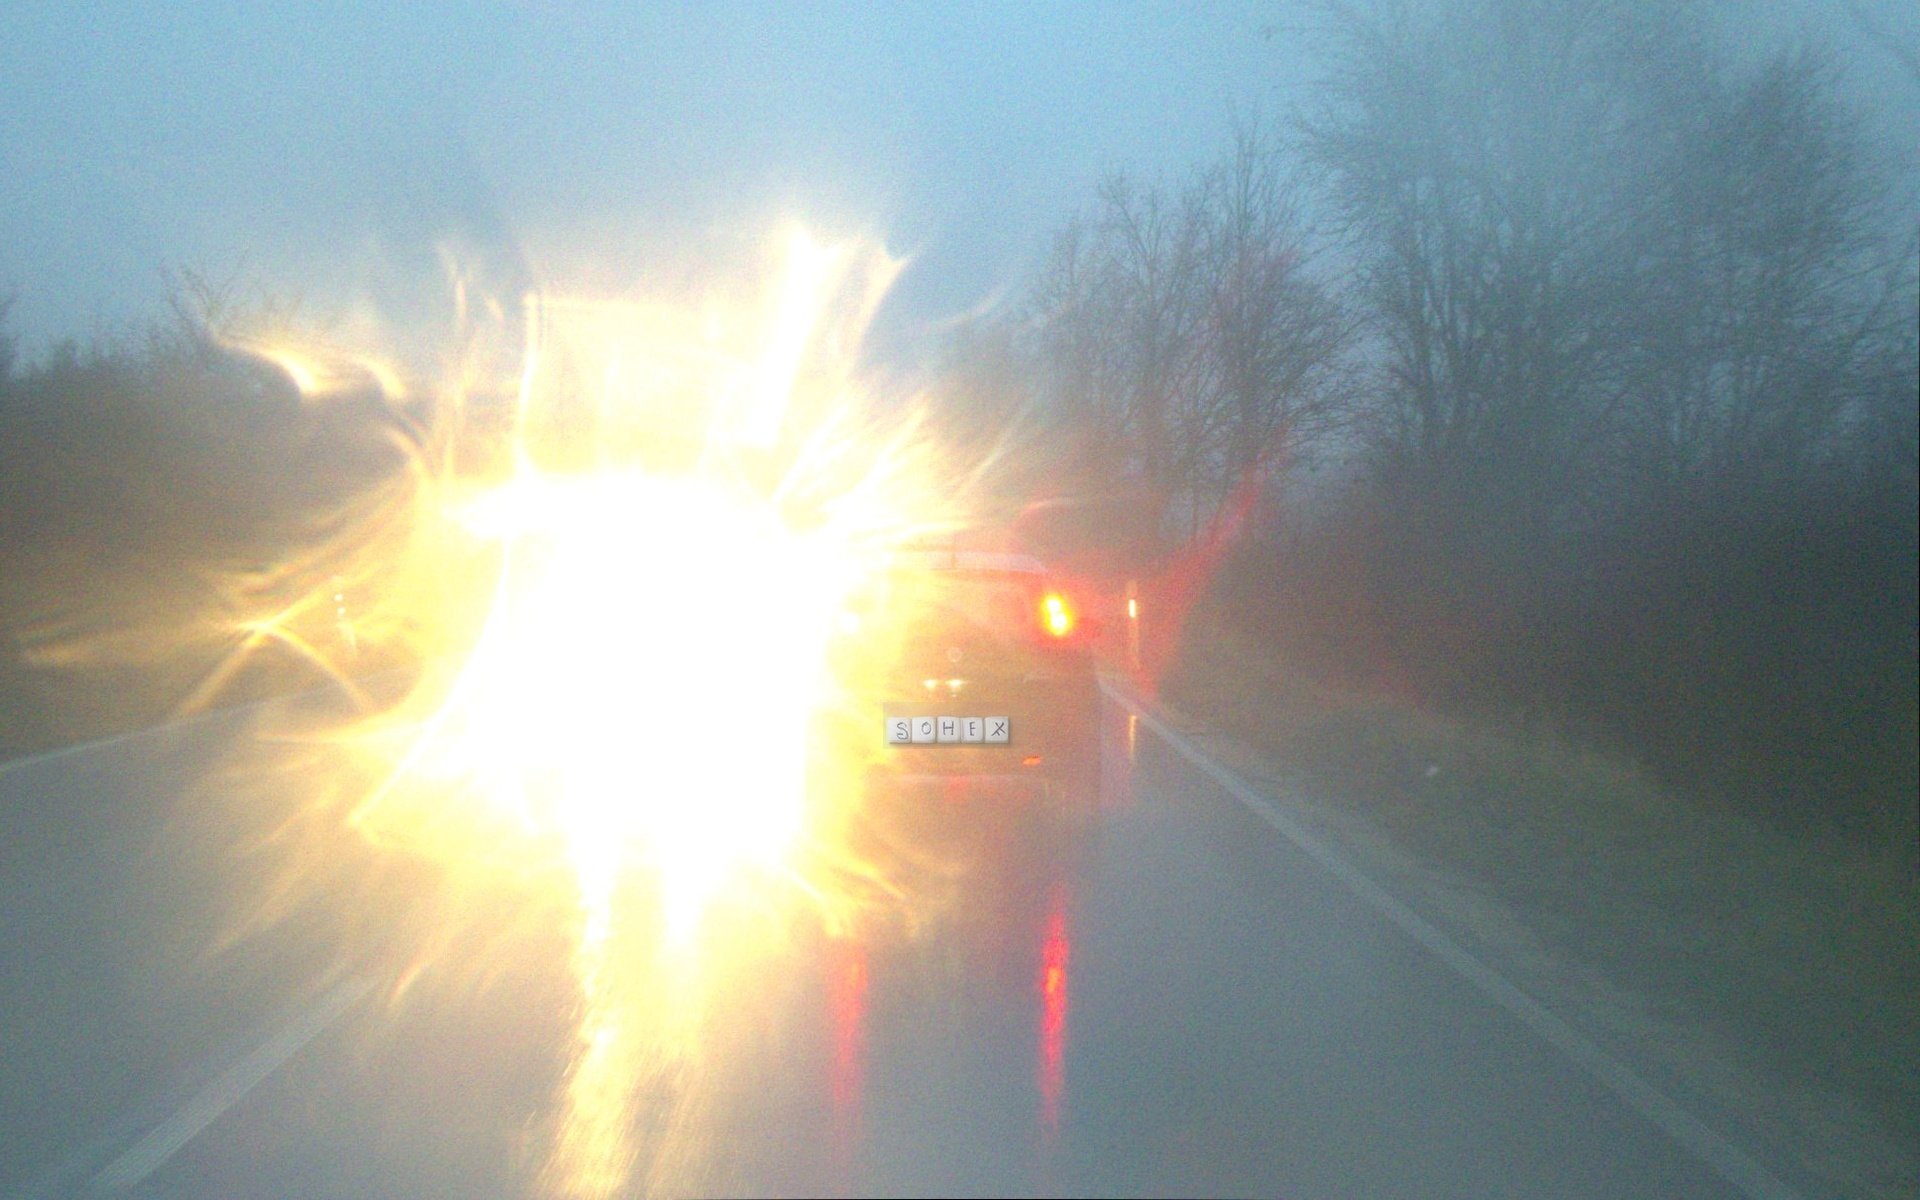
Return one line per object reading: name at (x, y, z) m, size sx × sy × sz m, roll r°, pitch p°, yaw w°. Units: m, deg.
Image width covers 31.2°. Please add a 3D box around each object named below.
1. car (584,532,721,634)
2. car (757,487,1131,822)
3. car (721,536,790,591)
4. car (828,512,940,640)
car at (-4.591, -0.288, 51.813) m, size 1.751 × 1.469 × 3.891 m, roll 0°, pitch 1°, yaw -1°
car at (-0.071, 0.259, 20.649) m, size 1.993 × 1.778 × 4.000 m, roll 1°, pitch 1°, yaw 1°
car at (-5.690, -1.035, 96.031) m, size 1.825 × 1.493 × 4.096 m, roll 0°, pitch 1°, yaw -2°
car at (-1.143, -0.392, 52.909) m, size 1.574 × 1.868 × 3.709 m, roll 1°, pitch 1°, yaw 1°
